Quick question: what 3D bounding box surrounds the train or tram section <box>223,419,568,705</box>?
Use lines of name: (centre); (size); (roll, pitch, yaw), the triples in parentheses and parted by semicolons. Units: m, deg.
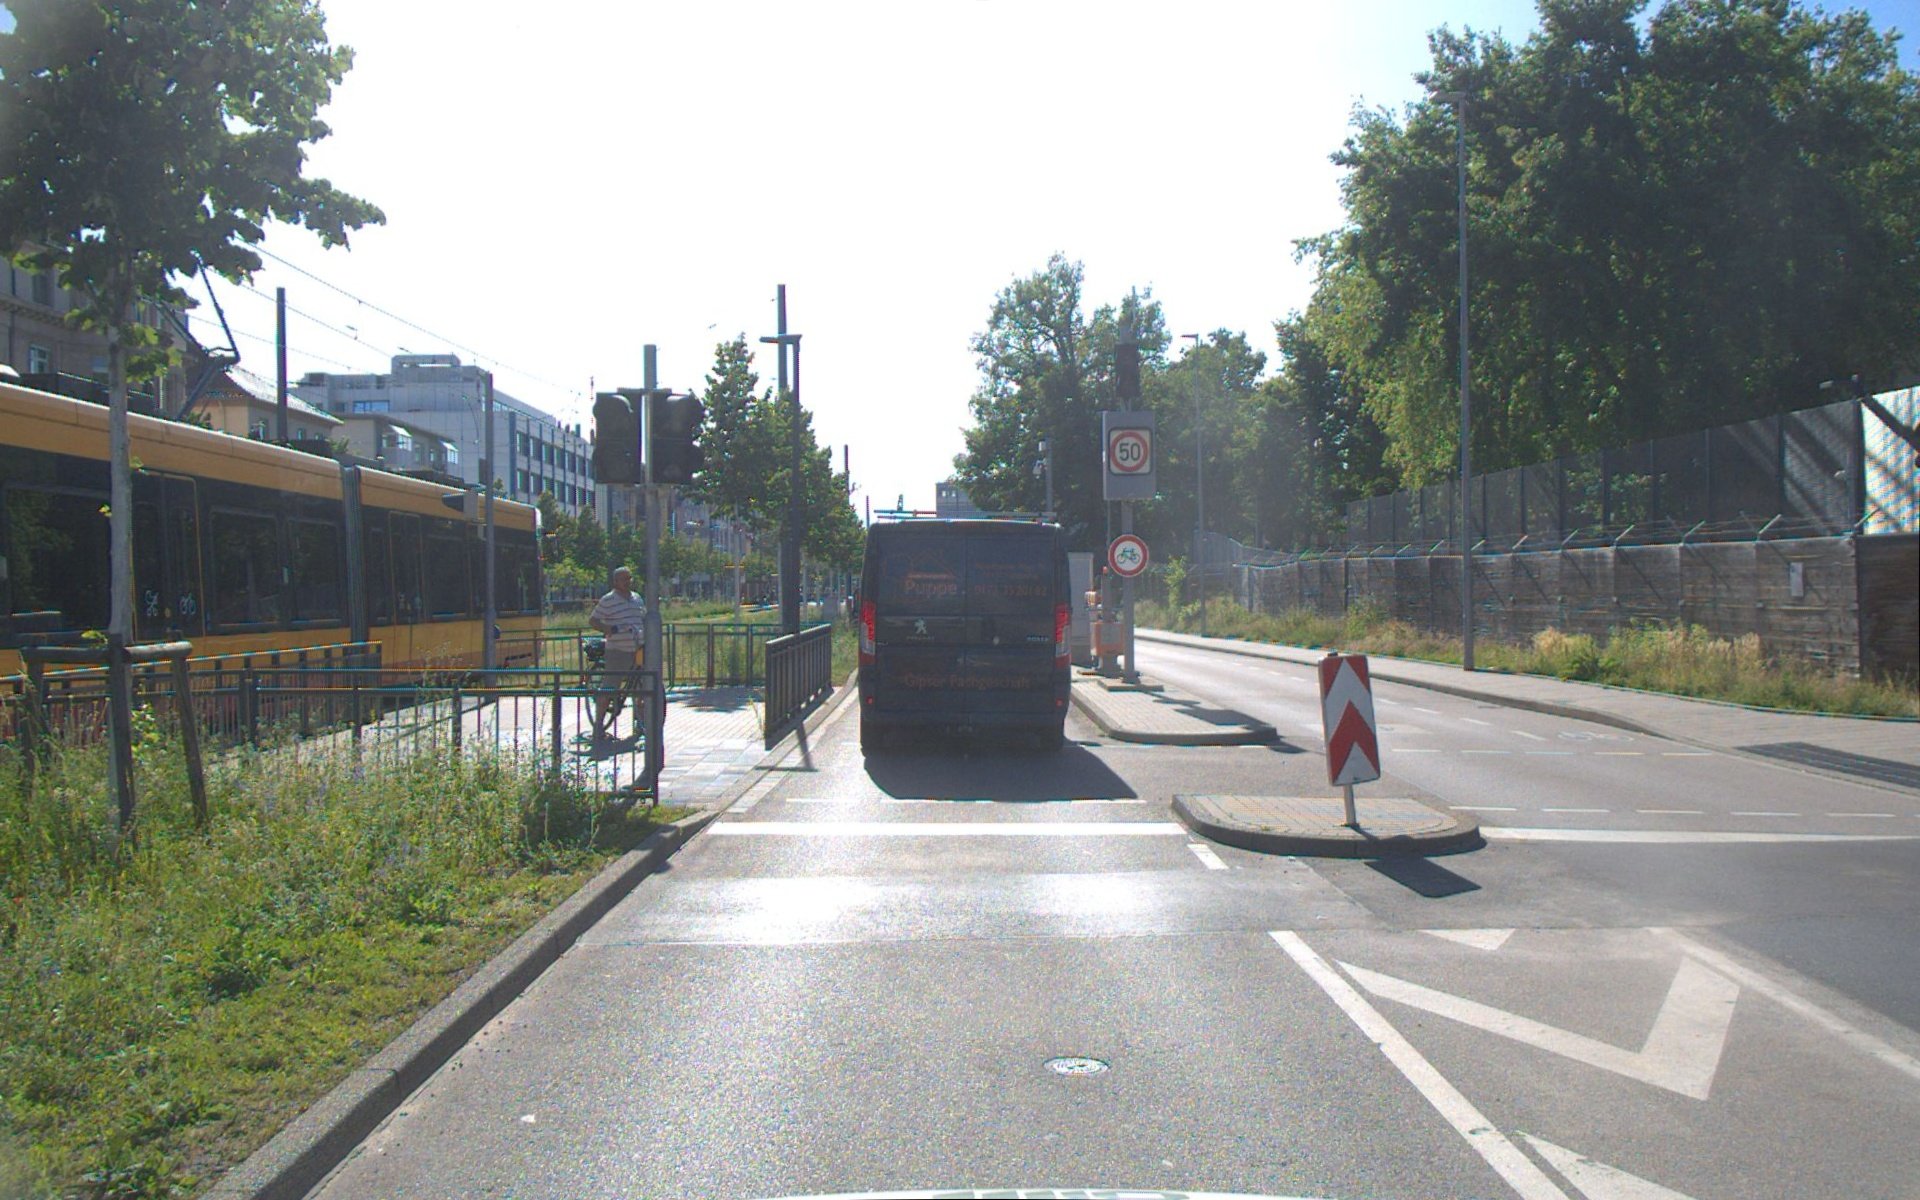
train or tram section: (-8.752, -0.511, 27.452); (1.953, 3.733, 11.680); (0, 0, -1)

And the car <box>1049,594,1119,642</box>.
car: (3.944, 0.544, 52.971); (1.728, 1.488, 3.997); (0, 0, -3)

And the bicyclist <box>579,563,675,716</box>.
bicyclist: (-3.450, 0.398, 17.118); (0.816, 1.539, 0.723); (0, 0, -27)

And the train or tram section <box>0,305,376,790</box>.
train or tram section: (-8.469, -0.408, 16.006); (1.953, 3.733, 11.312); (0, 0, -2)

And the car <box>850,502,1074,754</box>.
car: (-0.040, 0.251, 17.053); (2.040, 2.288, 3.998); (0, 0, -2)

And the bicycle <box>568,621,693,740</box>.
bicycle: (-3.409, 0.785, 16.991); (0.724, 1.110, 2.064); (0, 0, -27)
